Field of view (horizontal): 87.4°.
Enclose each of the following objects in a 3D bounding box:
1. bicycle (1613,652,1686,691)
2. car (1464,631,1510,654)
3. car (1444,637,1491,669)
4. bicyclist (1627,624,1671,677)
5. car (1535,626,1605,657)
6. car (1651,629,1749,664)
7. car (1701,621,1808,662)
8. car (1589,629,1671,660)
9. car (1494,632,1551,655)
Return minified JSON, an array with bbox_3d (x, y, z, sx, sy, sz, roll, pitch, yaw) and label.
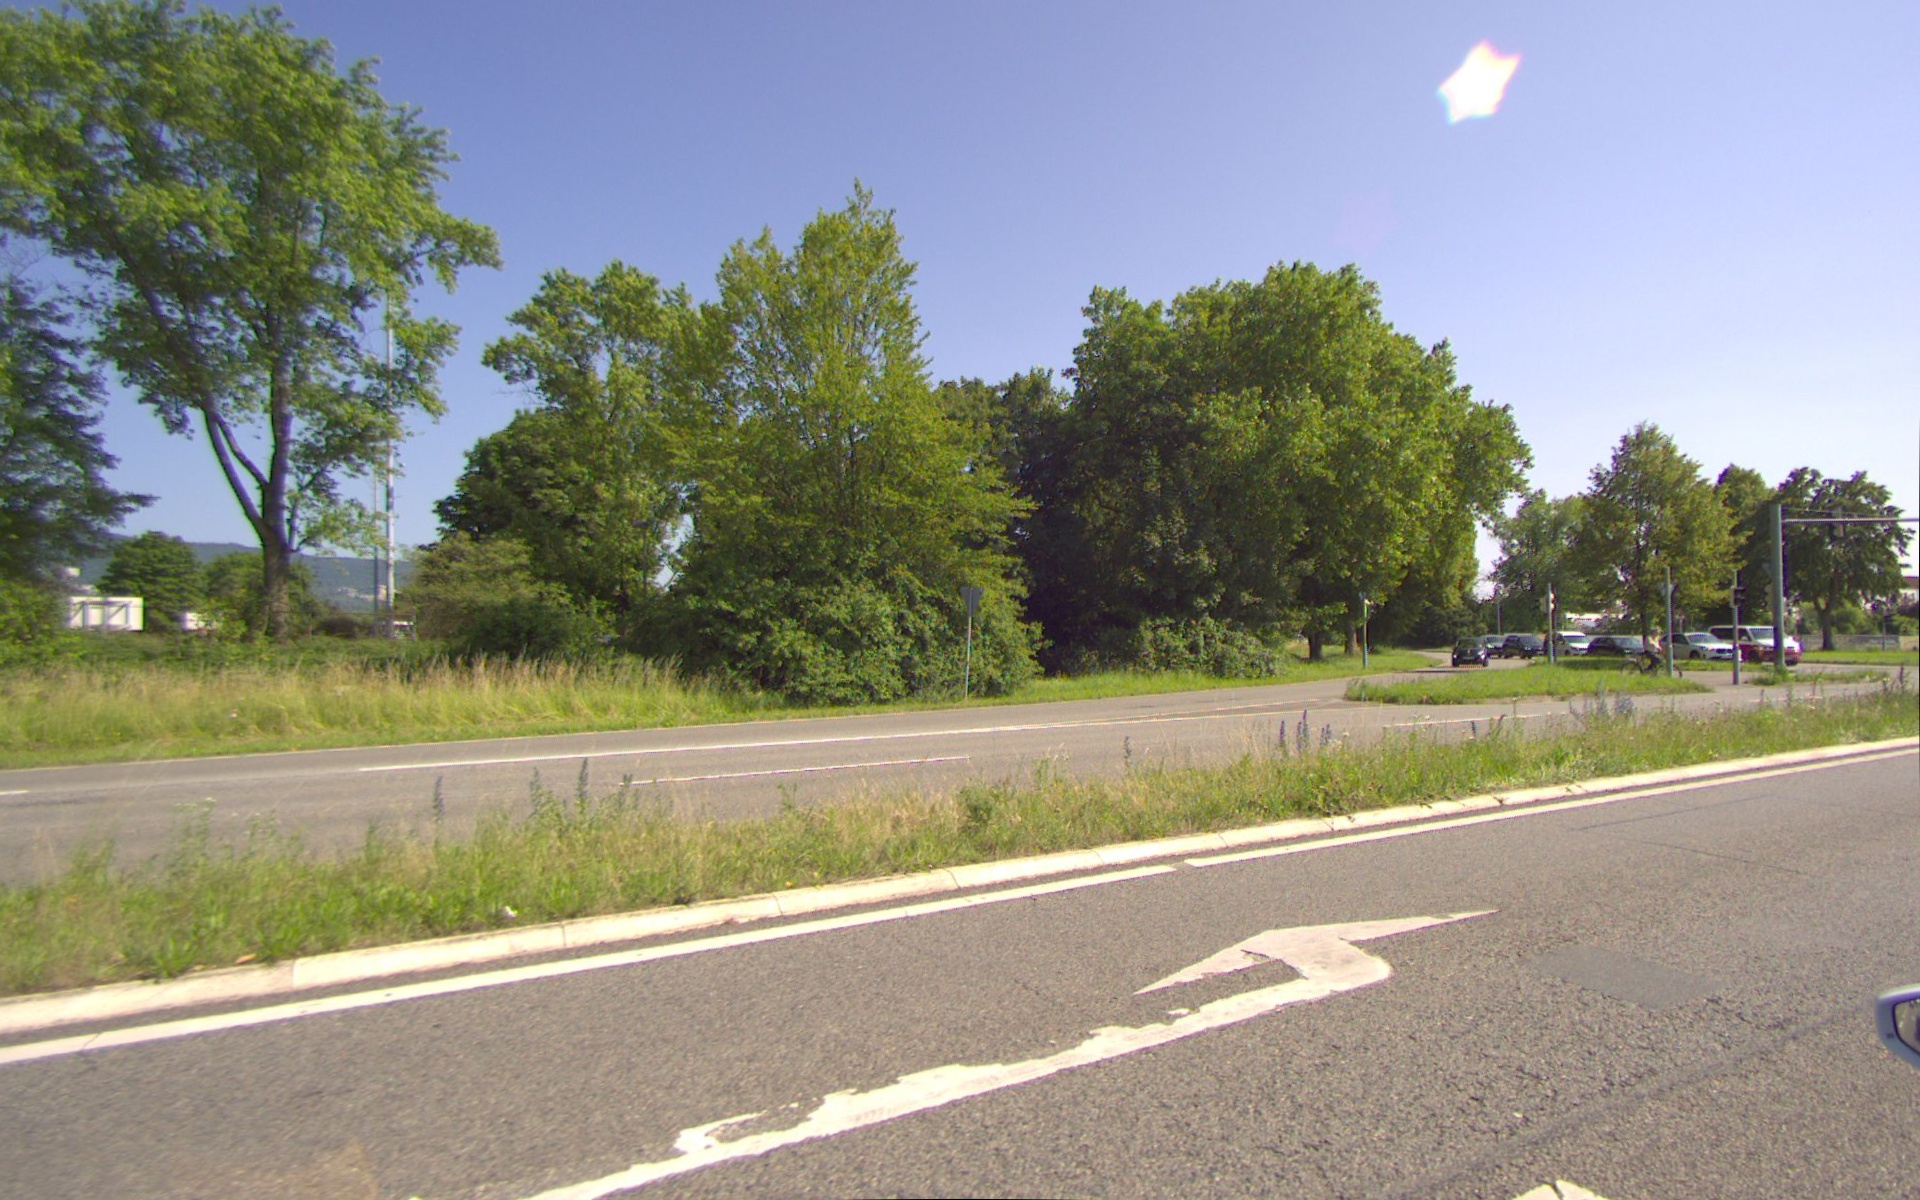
[{"bbox_3d":[20.573,2.106,29.991,0.737,1.055,1.672,0,-1,-24],"label":"bicycle"},{"bbox_3d":[38.959,3.127,74.386,1.964,1.627,4.271,-1,-2,13],"label":"car"},{"bbox_3d":[26.277,2.722,51.939,1.964,1.515,4.278,-3,-3,29],"label":"car"},{"bbox_3d":[20.571,1.482,29.990,0.737,1.538,0.844,0,0,-24],"label":"bicyclist"},{"bbox_3d":[37.756,2.549,62.304,1.964,1.824,4.511,-1,-2,6],"label":"car"},{"bbox_3d":[36.267,2.279,49.371,1.964,1.627,4.271,-1,-2,6],"label":"car"},{"bbox_3d":[39.599,2.070,50.246,1.960,1.975,4.659,0,-2,6],"label":"car"},{"bbox_3d":[36.894,2.430,55.429,1.964,1.627,4.271,-1,-2,6],"label":"car"},{"bbox_3d":[38.369,2.942,68.621,1.881,1.532,4.129,-1,-2,6],"label":"car"}]
